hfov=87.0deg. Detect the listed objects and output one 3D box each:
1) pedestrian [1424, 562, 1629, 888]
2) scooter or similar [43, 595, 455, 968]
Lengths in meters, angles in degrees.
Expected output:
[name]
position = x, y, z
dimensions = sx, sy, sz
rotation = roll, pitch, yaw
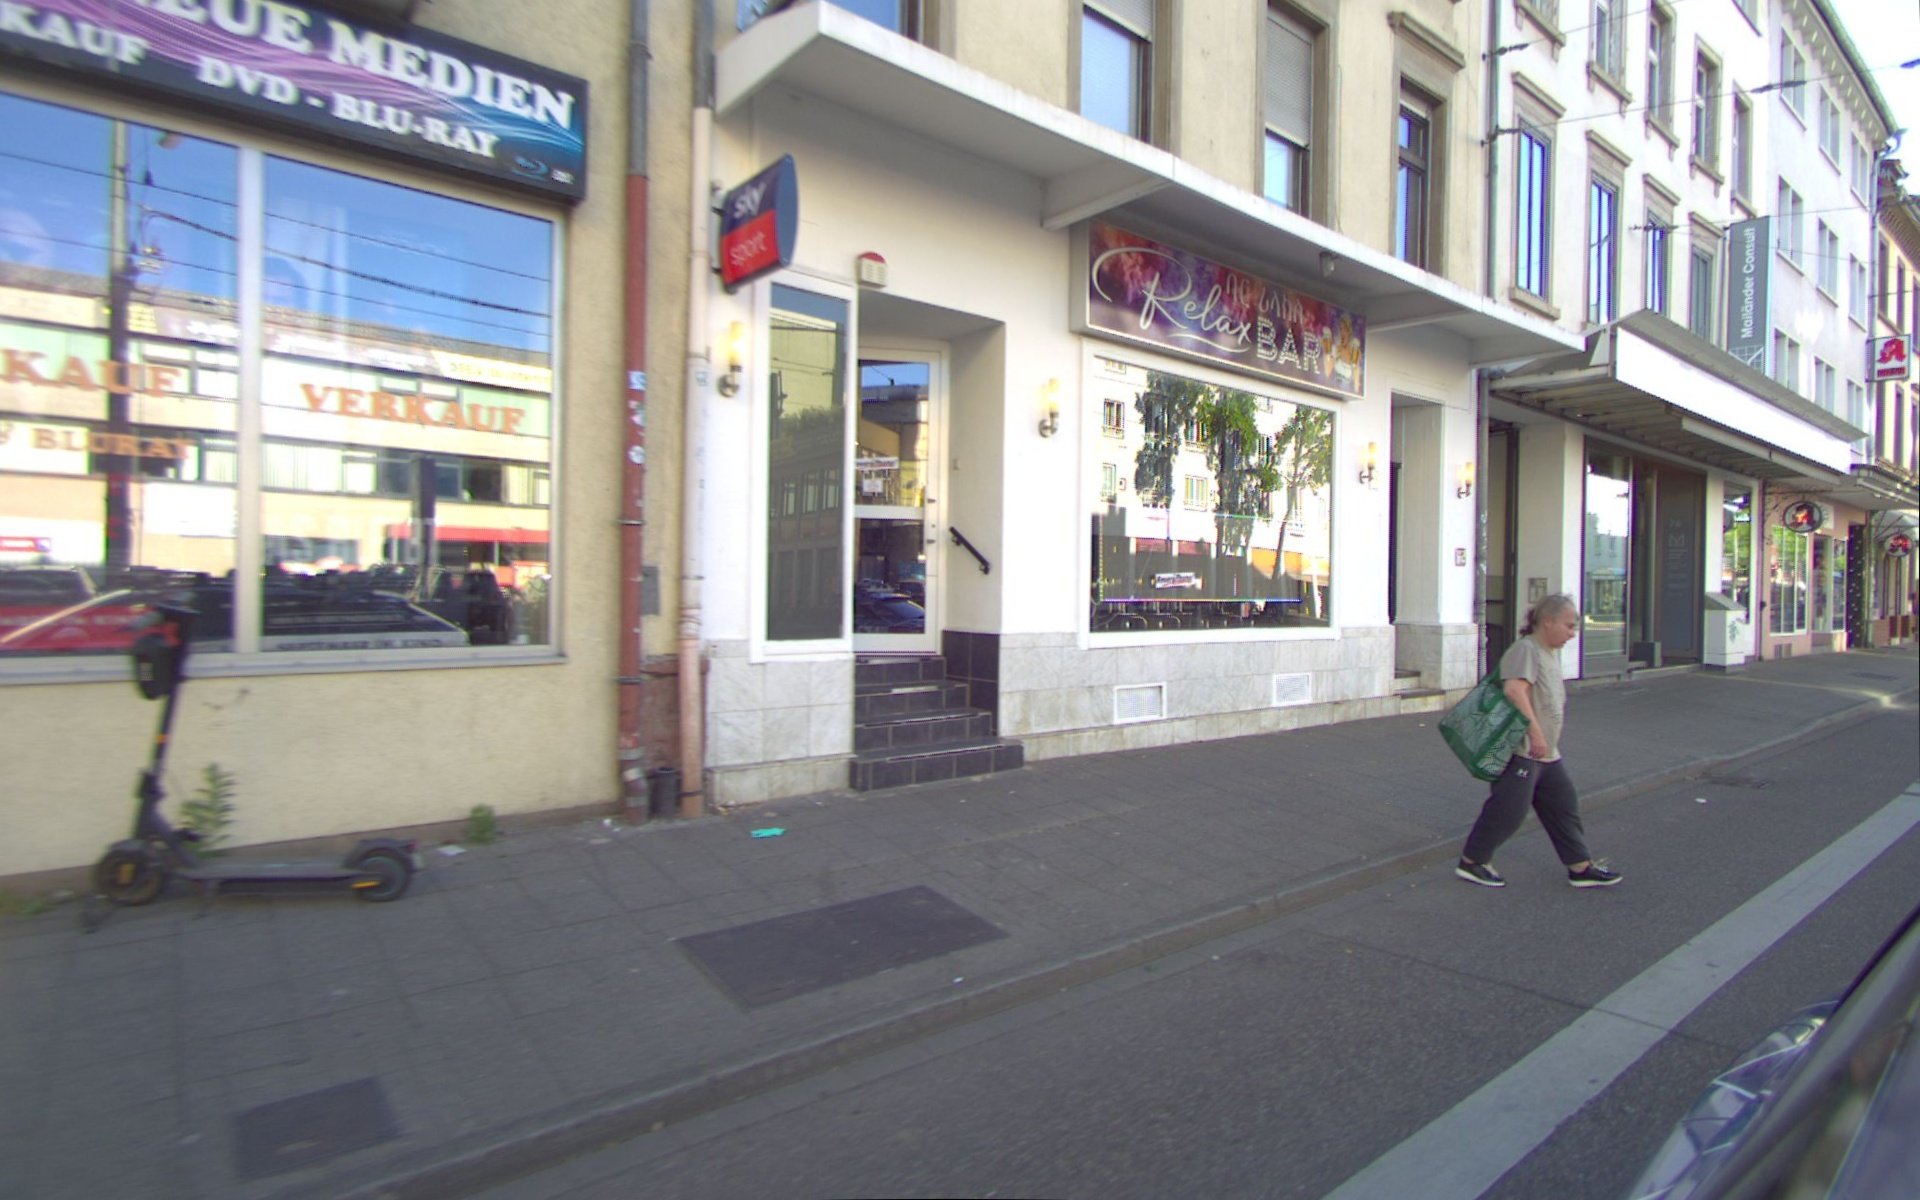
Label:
[pedestrian]
position = 3.023, 0.598, 5.415
dimensions = 0.639, 1.580, 0.780
rotation = 0, 0, -40
[scooter or similar]
position = -2.696, 0.633, 3.965
dimensions = 1.257, 1.297, 0.412
rotation = 0, 1, -23
